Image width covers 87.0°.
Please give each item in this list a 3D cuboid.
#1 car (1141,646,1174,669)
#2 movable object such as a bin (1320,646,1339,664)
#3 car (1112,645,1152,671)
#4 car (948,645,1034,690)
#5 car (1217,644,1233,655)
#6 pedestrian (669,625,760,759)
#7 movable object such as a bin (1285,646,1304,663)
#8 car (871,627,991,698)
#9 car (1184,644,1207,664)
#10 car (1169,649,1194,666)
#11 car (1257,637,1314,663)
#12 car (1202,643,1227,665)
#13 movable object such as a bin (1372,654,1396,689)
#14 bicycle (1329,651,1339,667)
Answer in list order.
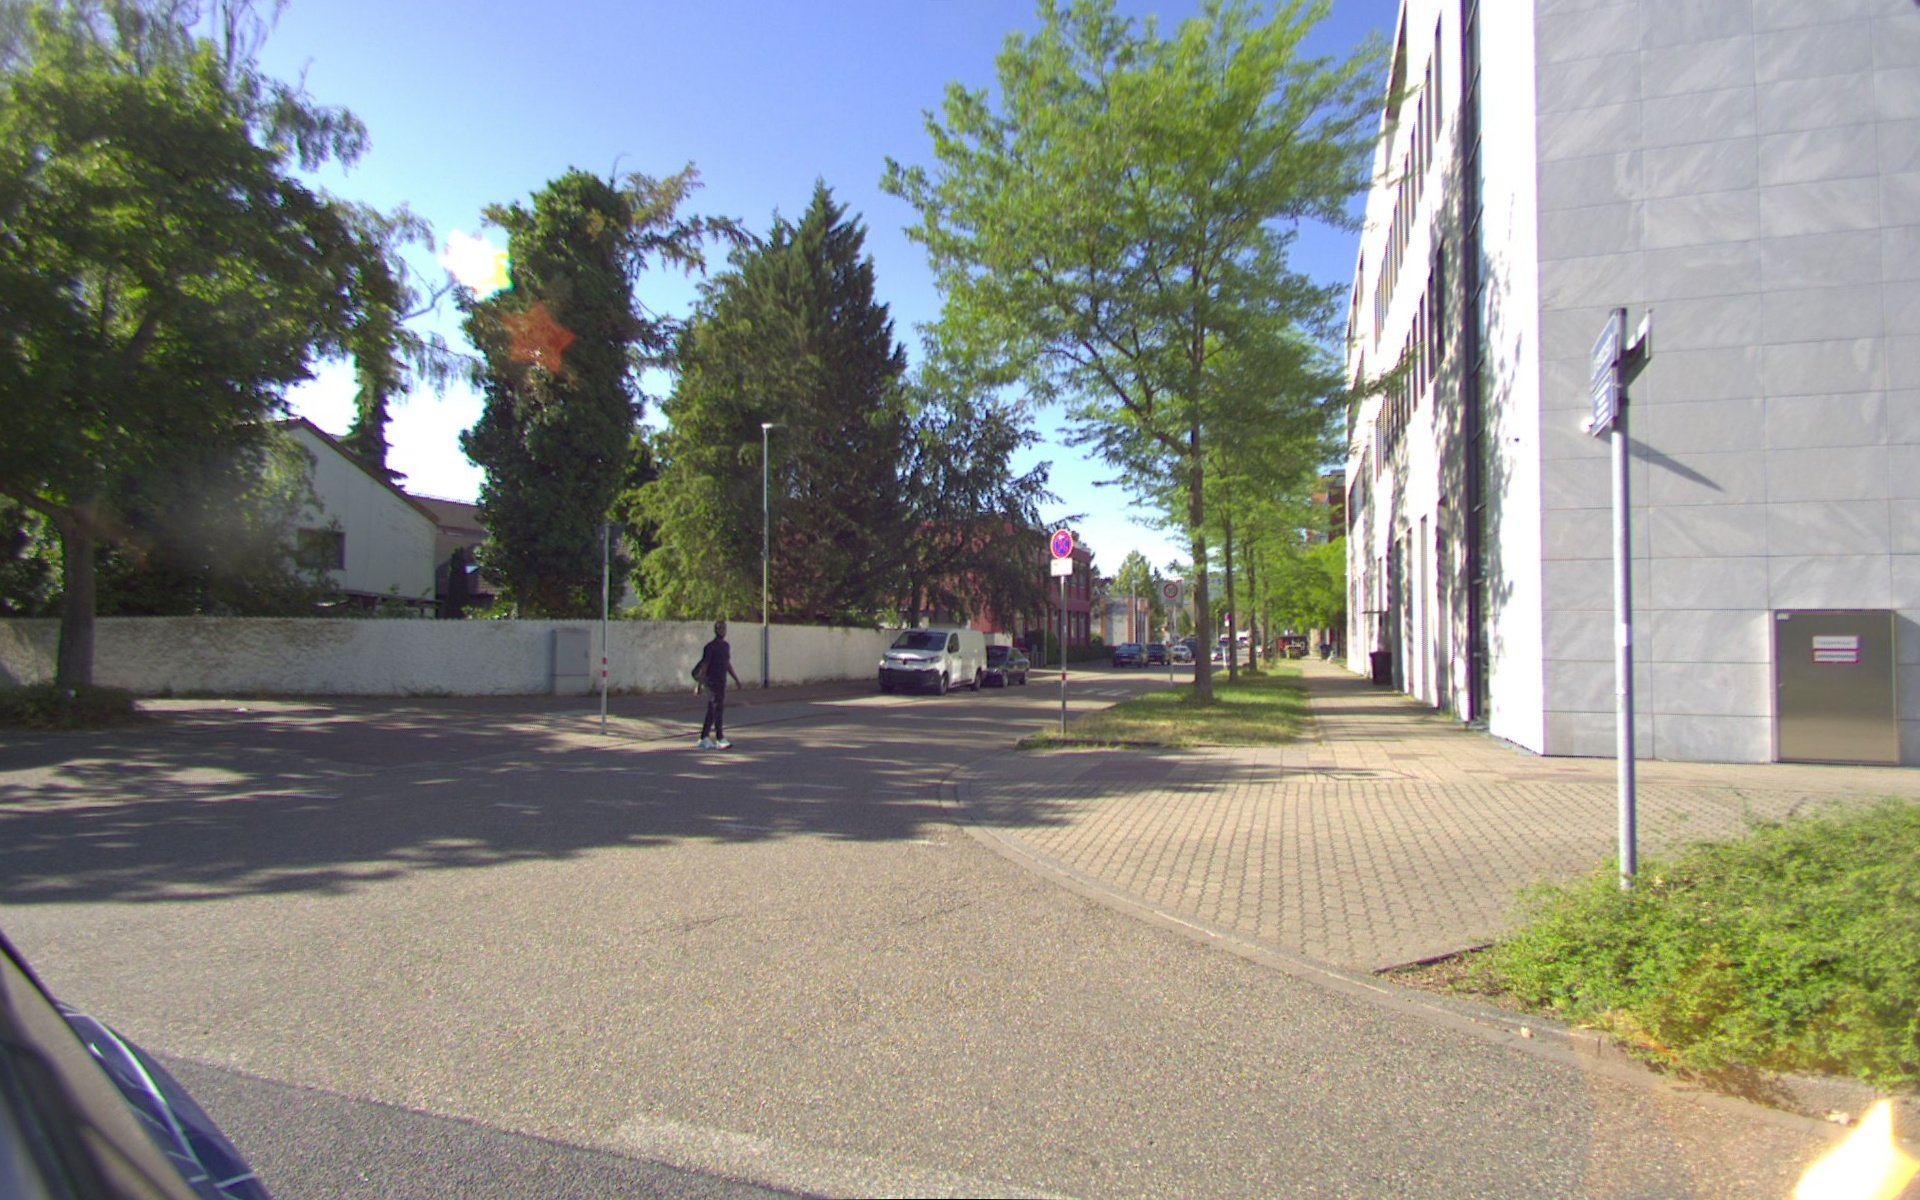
[{"bbox_3d":[15.096,4.379,77.364,1.866,1.642,4.377,0,-3,20],"label":"car"},{"bbox_3d":[32.728,4.838,89.609,1.515,1.580,1.335,-2,-3,24],"label":"movable object such as a bin"},{"bbox_3d":[11.367,3.796,66.582,1.890,1.642,4.343,0,-3,20],"label":"car"},{"bbox_3d":[1.179,2.332,35.696,1.818,1.434,4.254,0,-3,20],"label":"car"},{"bbox_3d":[37.988,7.099,145.156,1.890,1.607,4.343,0,-3,20],"label":"car"},{"bbox_3d":[-3.241,1.193,13.412,0.804,1.697,0.829,-2,-4,32],"label":"pedestrian"},{"bbox_3d":[32.008,5.239,96.844,1.507,1.580,1.342,-1,-3,10],"label":"movable object such as a bin"},{"bbox_3d":[-0.737,1.816,30.320,1.890,1.929,5.114,0,-3,20],"label":"car"},{"bbox_3d":[24.742,5.612,106.064,1.890,2.001,4.343,0,-3,20],"label":"car"},{"bbox_3d":[19.947,5.145,91.038,1.688,1.467,3.864,0,-3,20],"label":"car"},{"bbox_3d":[34.043,5.251,105.953,5.450,2.561,1.974,-3,-4,19],"label":"car"},{"bbox_3d":[24.330,5.156,96.656,1.890,2.001,4.343,0,-3,20],"label":"car"},{"bbox_3d":[13.176,2.217,31.450,0.590,1.048,0.540,-2,-3,18],"label":"movable object such as a bin"},{"bbox_3d":[28.576,4.469,77.334,0.598,1.201,1.716,-2,-3,19],"label":"bicycle"}]
